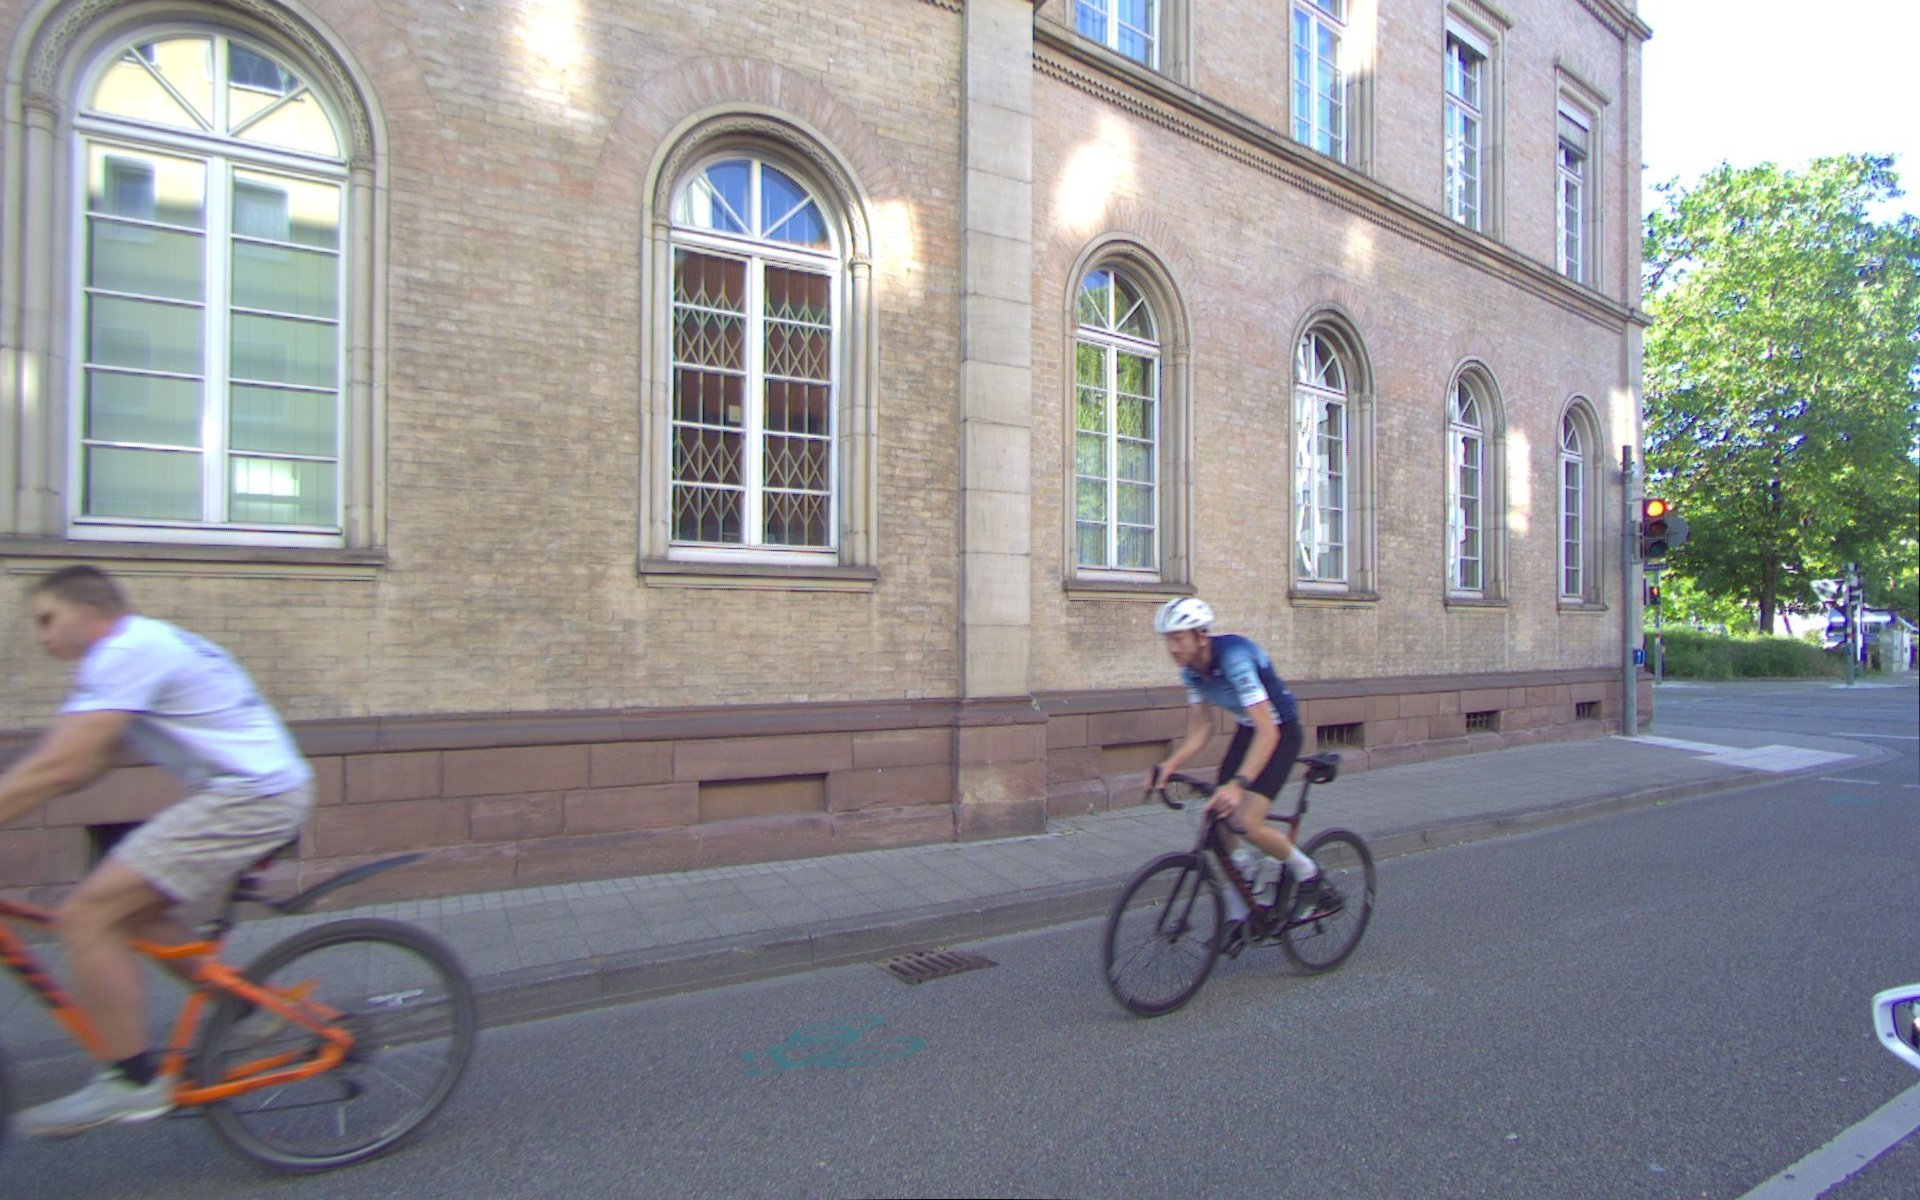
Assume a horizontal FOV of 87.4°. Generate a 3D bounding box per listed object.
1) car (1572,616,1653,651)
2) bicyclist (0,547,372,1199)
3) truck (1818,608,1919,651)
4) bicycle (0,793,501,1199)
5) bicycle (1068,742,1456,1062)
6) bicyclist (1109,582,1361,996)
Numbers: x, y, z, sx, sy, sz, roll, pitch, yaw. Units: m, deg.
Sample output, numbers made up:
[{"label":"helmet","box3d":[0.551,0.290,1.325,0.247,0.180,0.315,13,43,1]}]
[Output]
[{"label":"car","box3d":[47.833,2.481,73.726,2.056,2.423,4.521,2,-3,-38]},{"label":"bicyclist","box3d":[-2.167,0.693,2.732,0.949,1.587,0.647,1,-4,-30]},{"label":"truck","box3d":[53.758,1.683,59.073,2.069,2.431,4.790,1,-1,-39]},{"label":"bicycle","box3d":[-2.228,1.133,2.666,1.785,1.019,0.647,1,-4,-30]},{"label":"bicycle","box3d":[1.336,1.189,4.330,1.736,1.019,0.542,1,-4,-30]},{"label":"bicyclist","box3d":[1.158,0.731,4.254,0.859,1.553,0.542,1,-4,-30]}]
